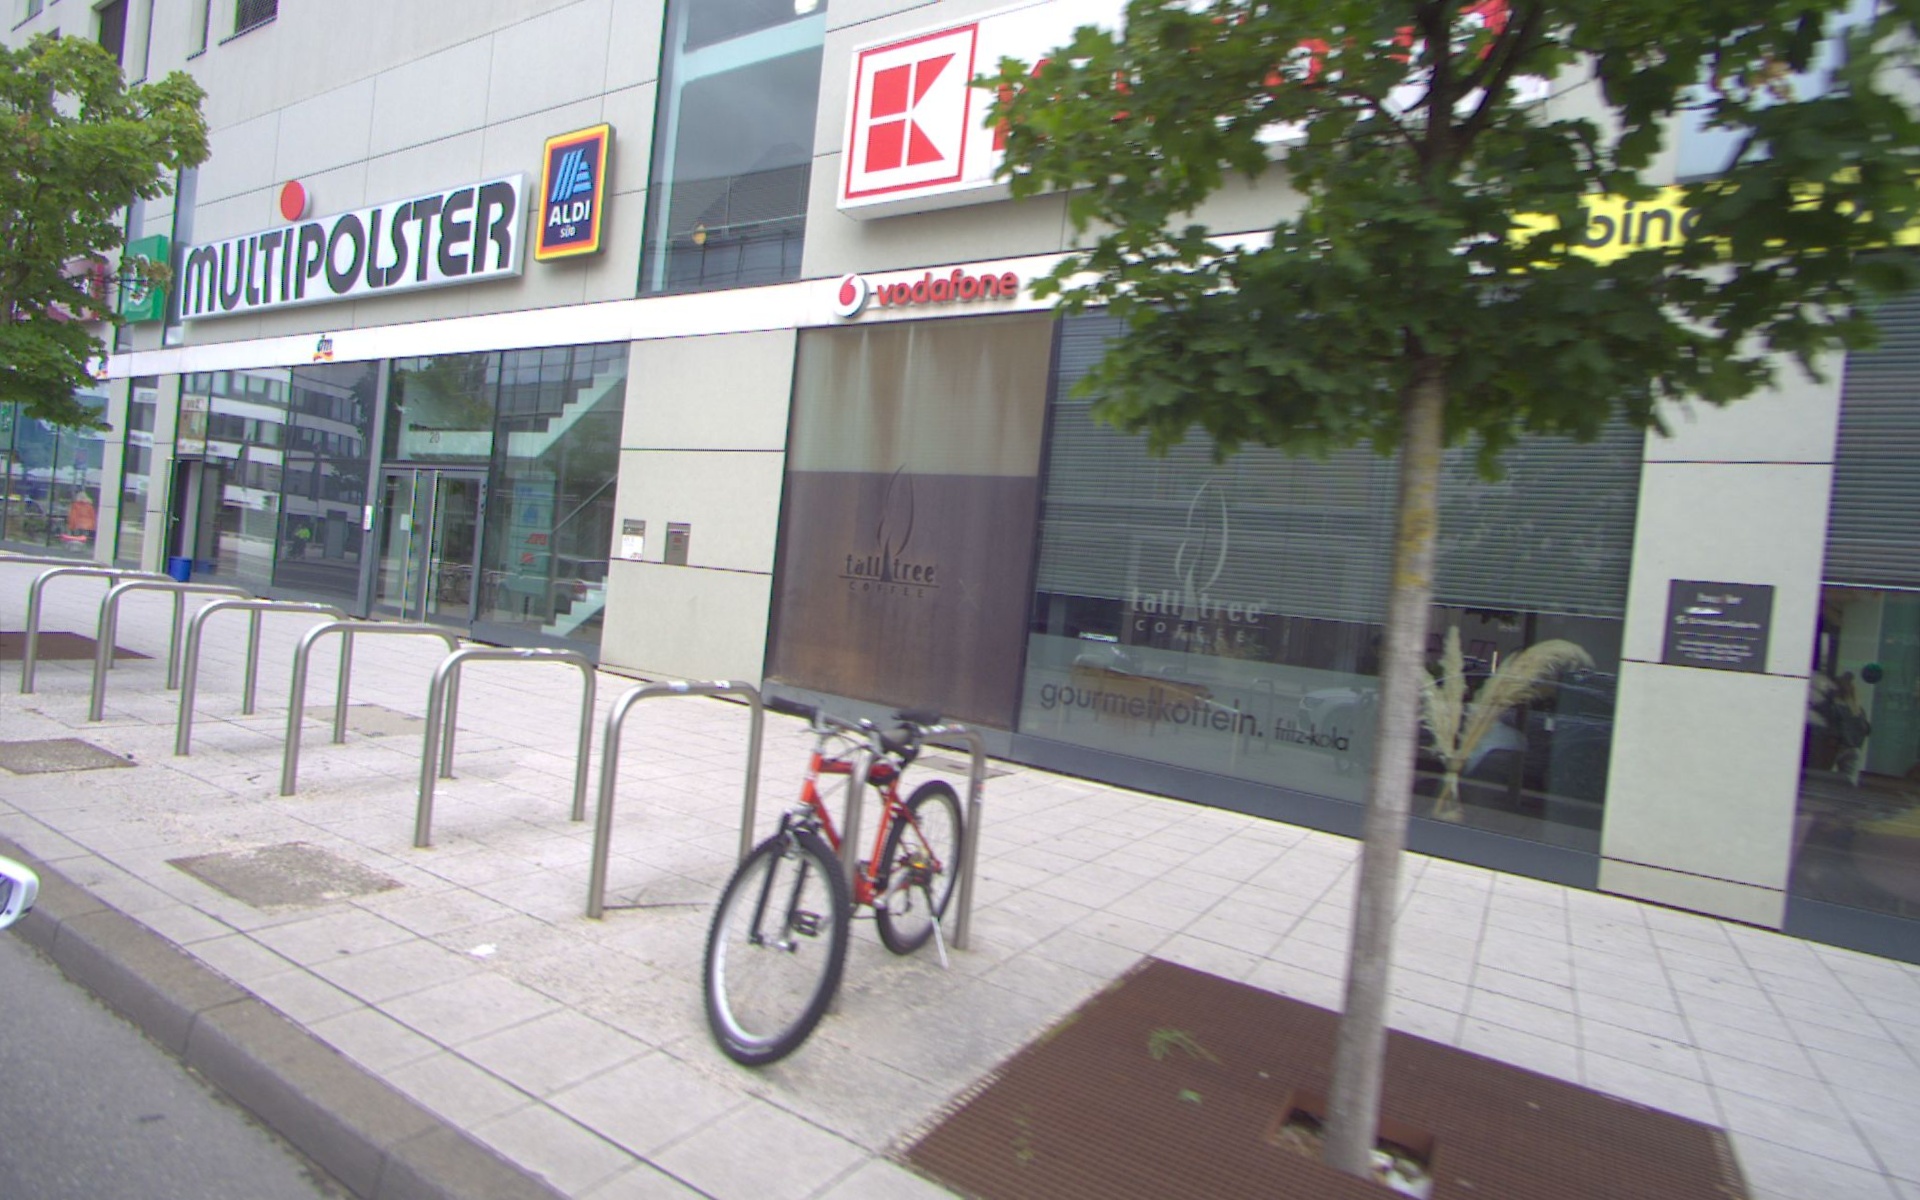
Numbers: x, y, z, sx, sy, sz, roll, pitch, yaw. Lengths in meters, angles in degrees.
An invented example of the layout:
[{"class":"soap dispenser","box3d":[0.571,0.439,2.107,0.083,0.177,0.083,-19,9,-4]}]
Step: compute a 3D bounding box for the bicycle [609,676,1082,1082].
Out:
[{"class":"bicycle","box3d":[-0.306,0.824,3.570,0.740,1.005,1.561,7,0,34]}]
